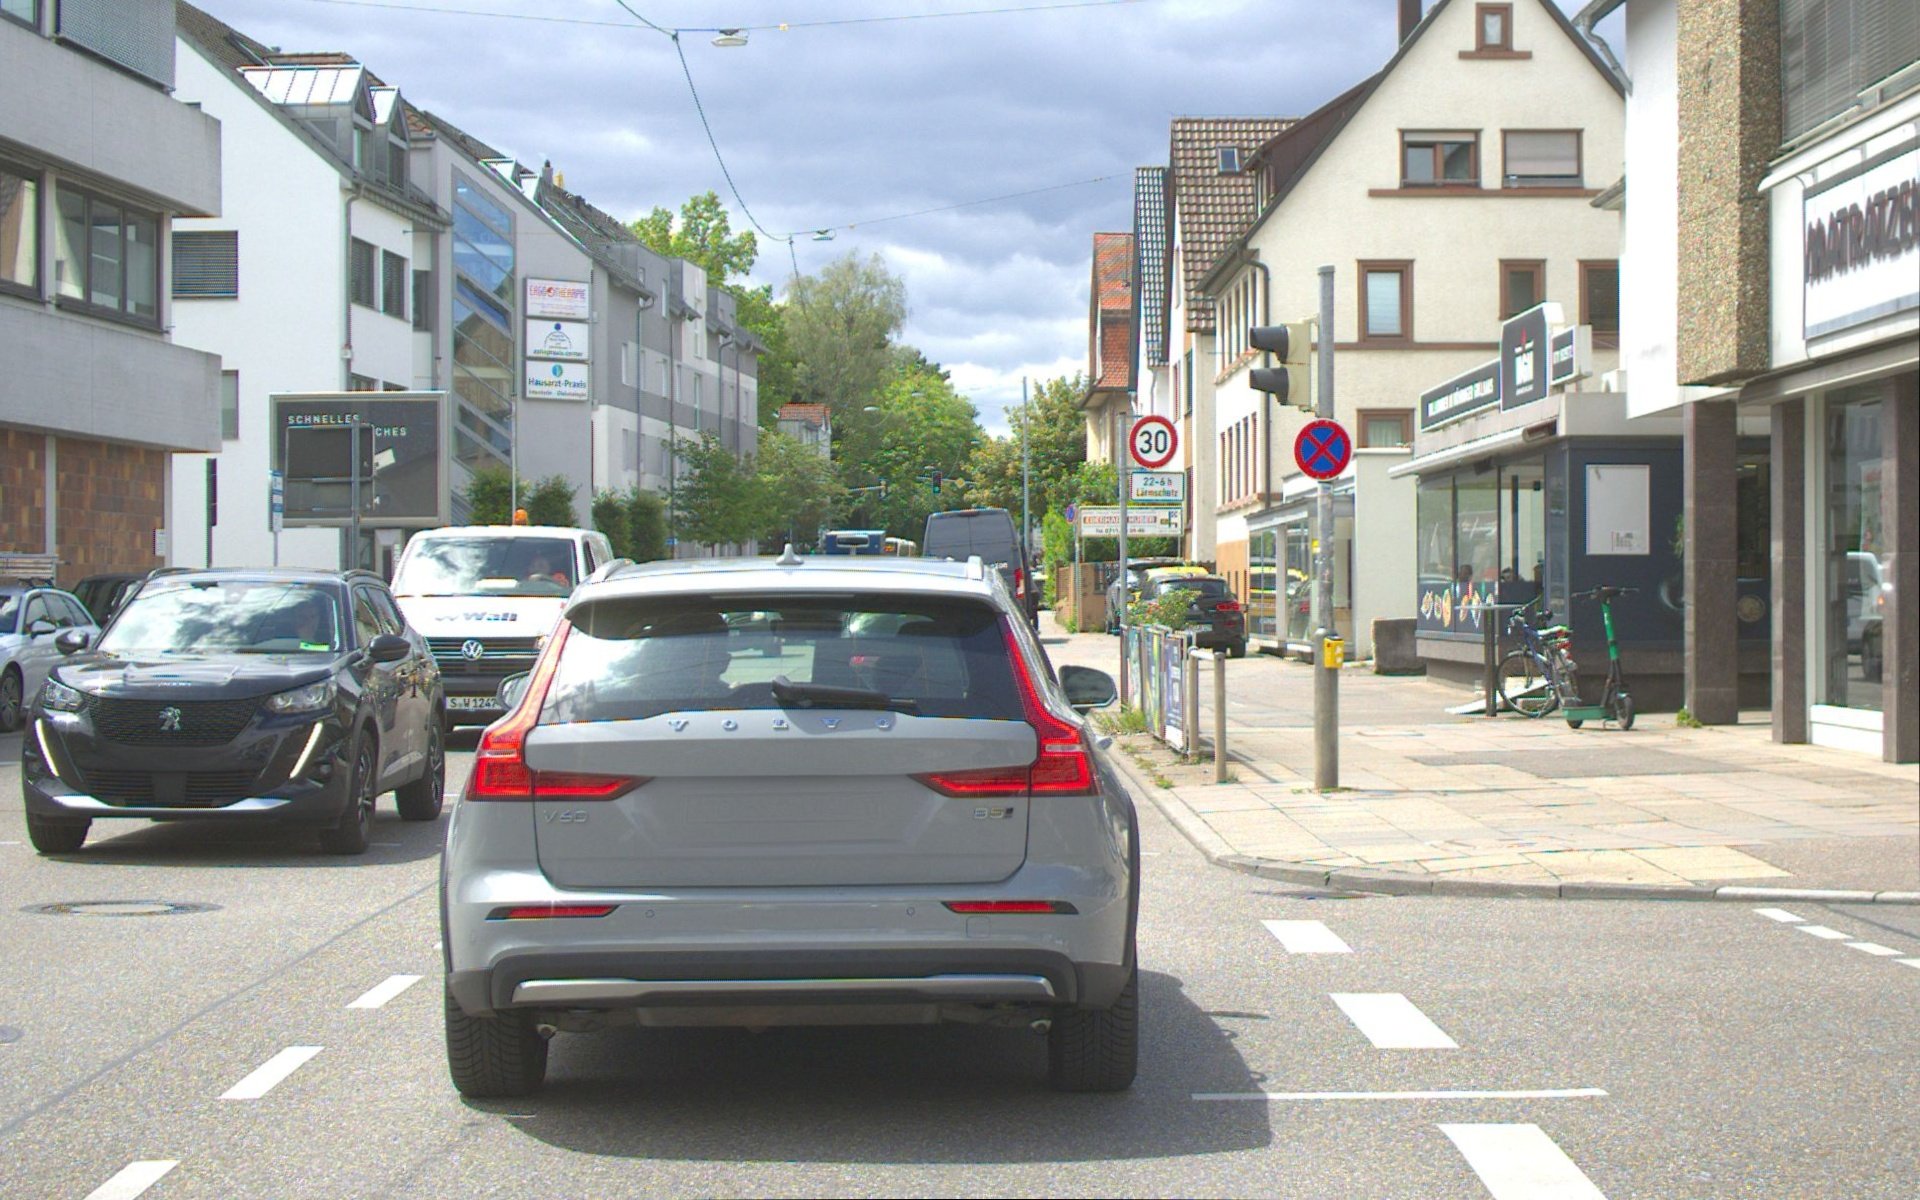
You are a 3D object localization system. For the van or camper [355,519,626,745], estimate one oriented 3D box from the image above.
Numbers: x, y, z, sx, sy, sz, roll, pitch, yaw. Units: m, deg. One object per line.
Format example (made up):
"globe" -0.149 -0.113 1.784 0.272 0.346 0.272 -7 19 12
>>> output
"van or camper" -4.154 0.215 31.121 1.864 1.891 4.693 0 1 -1

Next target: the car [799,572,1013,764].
"car" -0.449 0.525 28.527 1.650 1.477 3.607 1 0 -1

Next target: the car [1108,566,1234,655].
"car" 3.563 0.205 58.633 1.710 1.459 4.000 1 -1 -2

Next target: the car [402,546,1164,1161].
"car" -0.464 0.603 10.302 1.836 1.481 4.000 0 0 -1

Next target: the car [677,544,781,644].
"car" -4.567 -0.112 68.346 1.838 1.911 4.156 1 0 -1

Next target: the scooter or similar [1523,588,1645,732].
"scooter or similar" 5.574 0.539 30.747 0.340 1.249 1.246 -3 0 -26

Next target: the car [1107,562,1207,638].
"car" 4.099 0.023 72.130 1.883 1.495 3.971 1 -1 0

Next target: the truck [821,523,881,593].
"truck" -4.578 -1.789 145.564 2.276 2.877 7.079 -1 1 0

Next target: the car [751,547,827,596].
"car" -5.109 -0.869 103.041 1.762 1.421 4.000 -1 1 4

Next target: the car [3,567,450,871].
"car" -4.013 0.584 19.409 1.683 1.492 3.967 -1 1 0

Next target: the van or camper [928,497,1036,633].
"van or camper" 0.447 -0.724 70.460 2.123 2.677 4.781 -1 1 0

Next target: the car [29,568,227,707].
"car" -9.887 0.422 41.026 1.607 1.538 2.944 2 1 0

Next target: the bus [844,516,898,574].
"bus" -4.173 -2.624 162.895 2.276 2.659 7.429 -1 1 0

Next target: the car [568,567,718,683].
"car" -4.364 0.312 47.800 1.668 1.548 4.215 0 1 0

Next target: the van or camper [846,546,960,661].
"van or camper" -0.946 0.091 57.179 1.819 1.829 4.000 0 -1 -1

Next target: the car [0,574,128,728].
"car" -10.131 0.476 35.127 1.904 1.438 4.442 1 1 4

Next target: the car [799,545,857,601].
"car" -4.544 -0.904 118.608 1.797 1.810 4.000 1 -1 0

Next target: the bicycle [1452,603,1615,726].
"bicycle" 5.596 0.613 33.680 0.554 1.140 2.301 -1 1 -18
